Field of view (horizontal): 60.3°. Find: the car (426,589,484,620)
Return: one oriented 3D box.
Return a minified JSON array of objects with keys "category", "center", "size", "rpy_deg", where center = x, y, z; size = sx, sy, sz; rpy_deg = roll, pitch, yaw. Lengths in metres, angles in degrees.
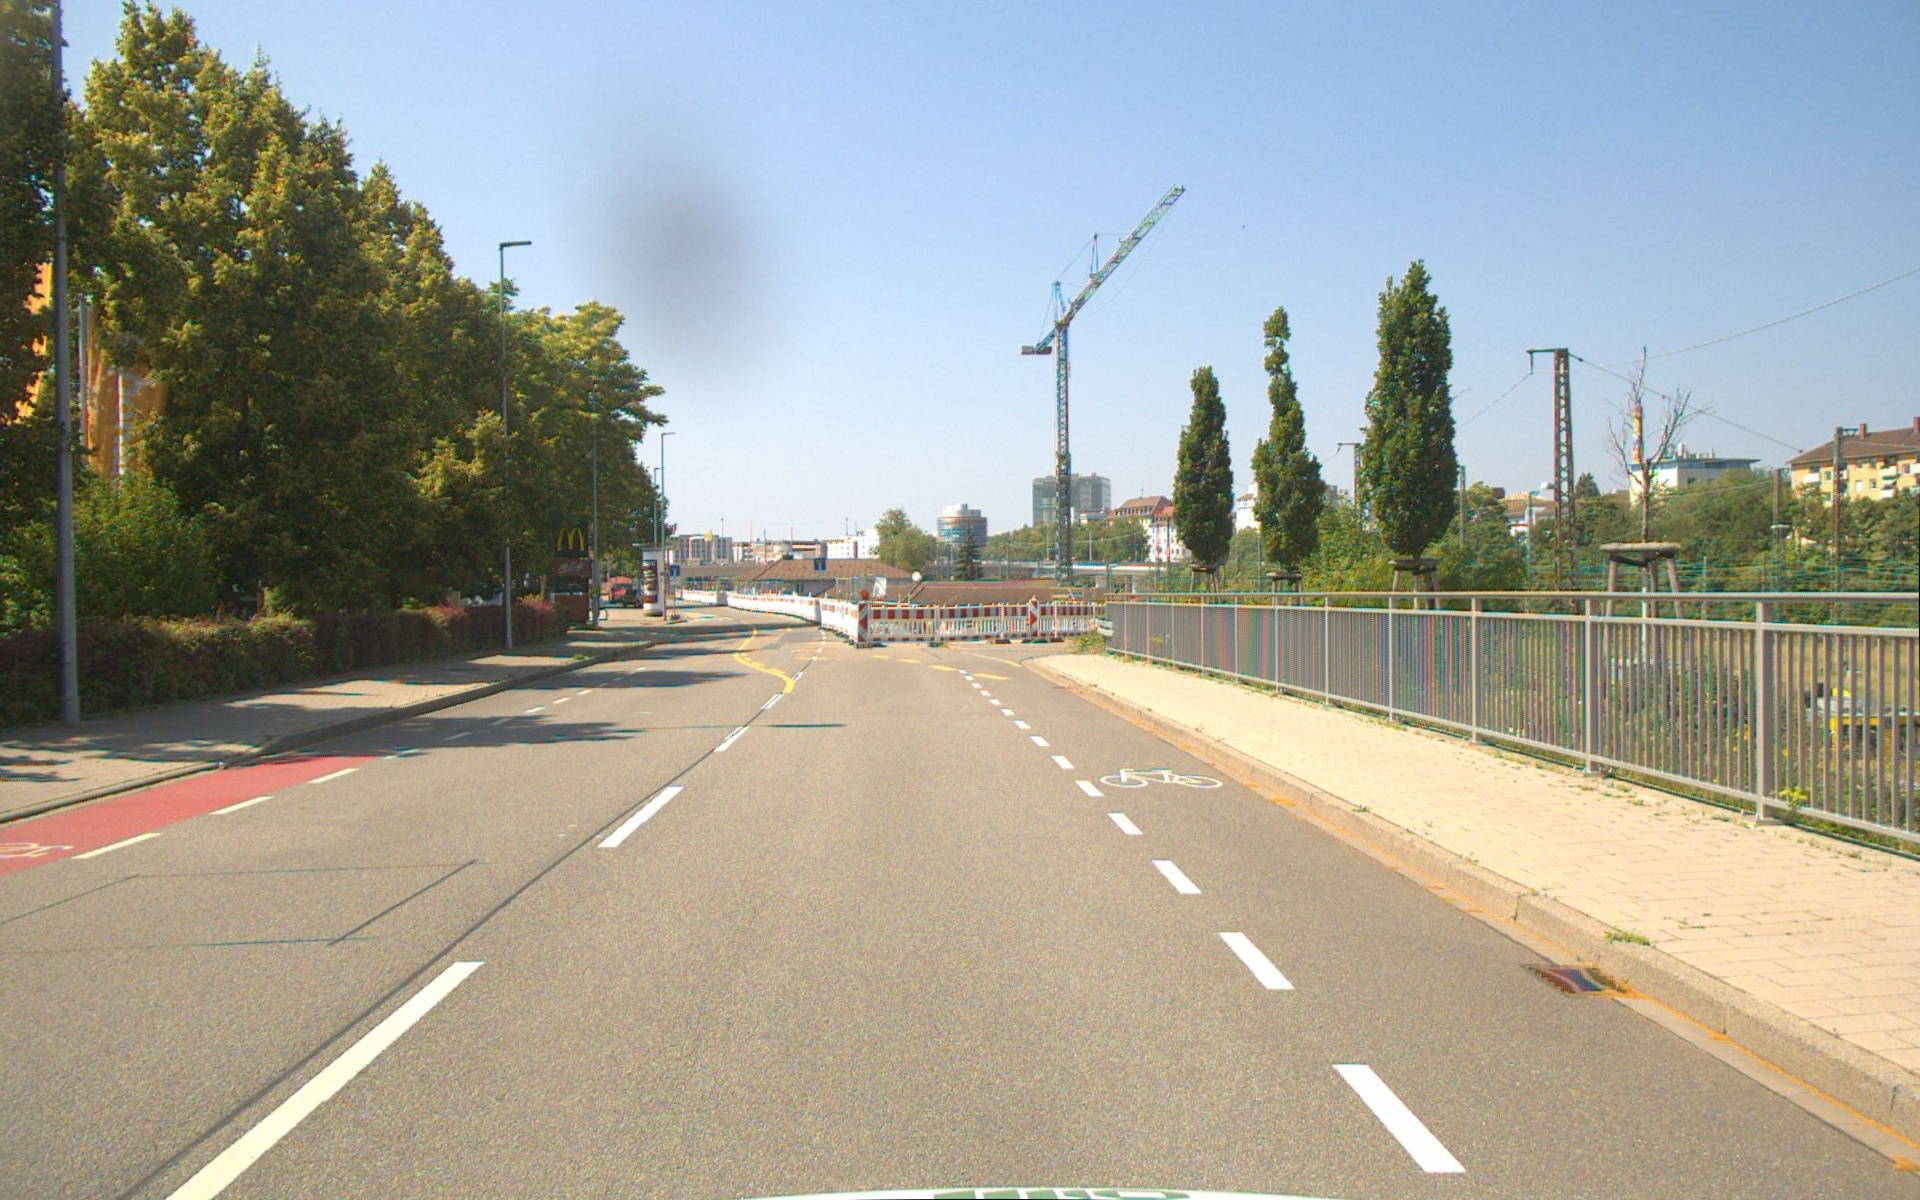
[{"category":"car","center":[-31.887,0.285,104.425],"size":[1.984,1.937,3.936],"rpy_deg":[-1,0,-43]}]
